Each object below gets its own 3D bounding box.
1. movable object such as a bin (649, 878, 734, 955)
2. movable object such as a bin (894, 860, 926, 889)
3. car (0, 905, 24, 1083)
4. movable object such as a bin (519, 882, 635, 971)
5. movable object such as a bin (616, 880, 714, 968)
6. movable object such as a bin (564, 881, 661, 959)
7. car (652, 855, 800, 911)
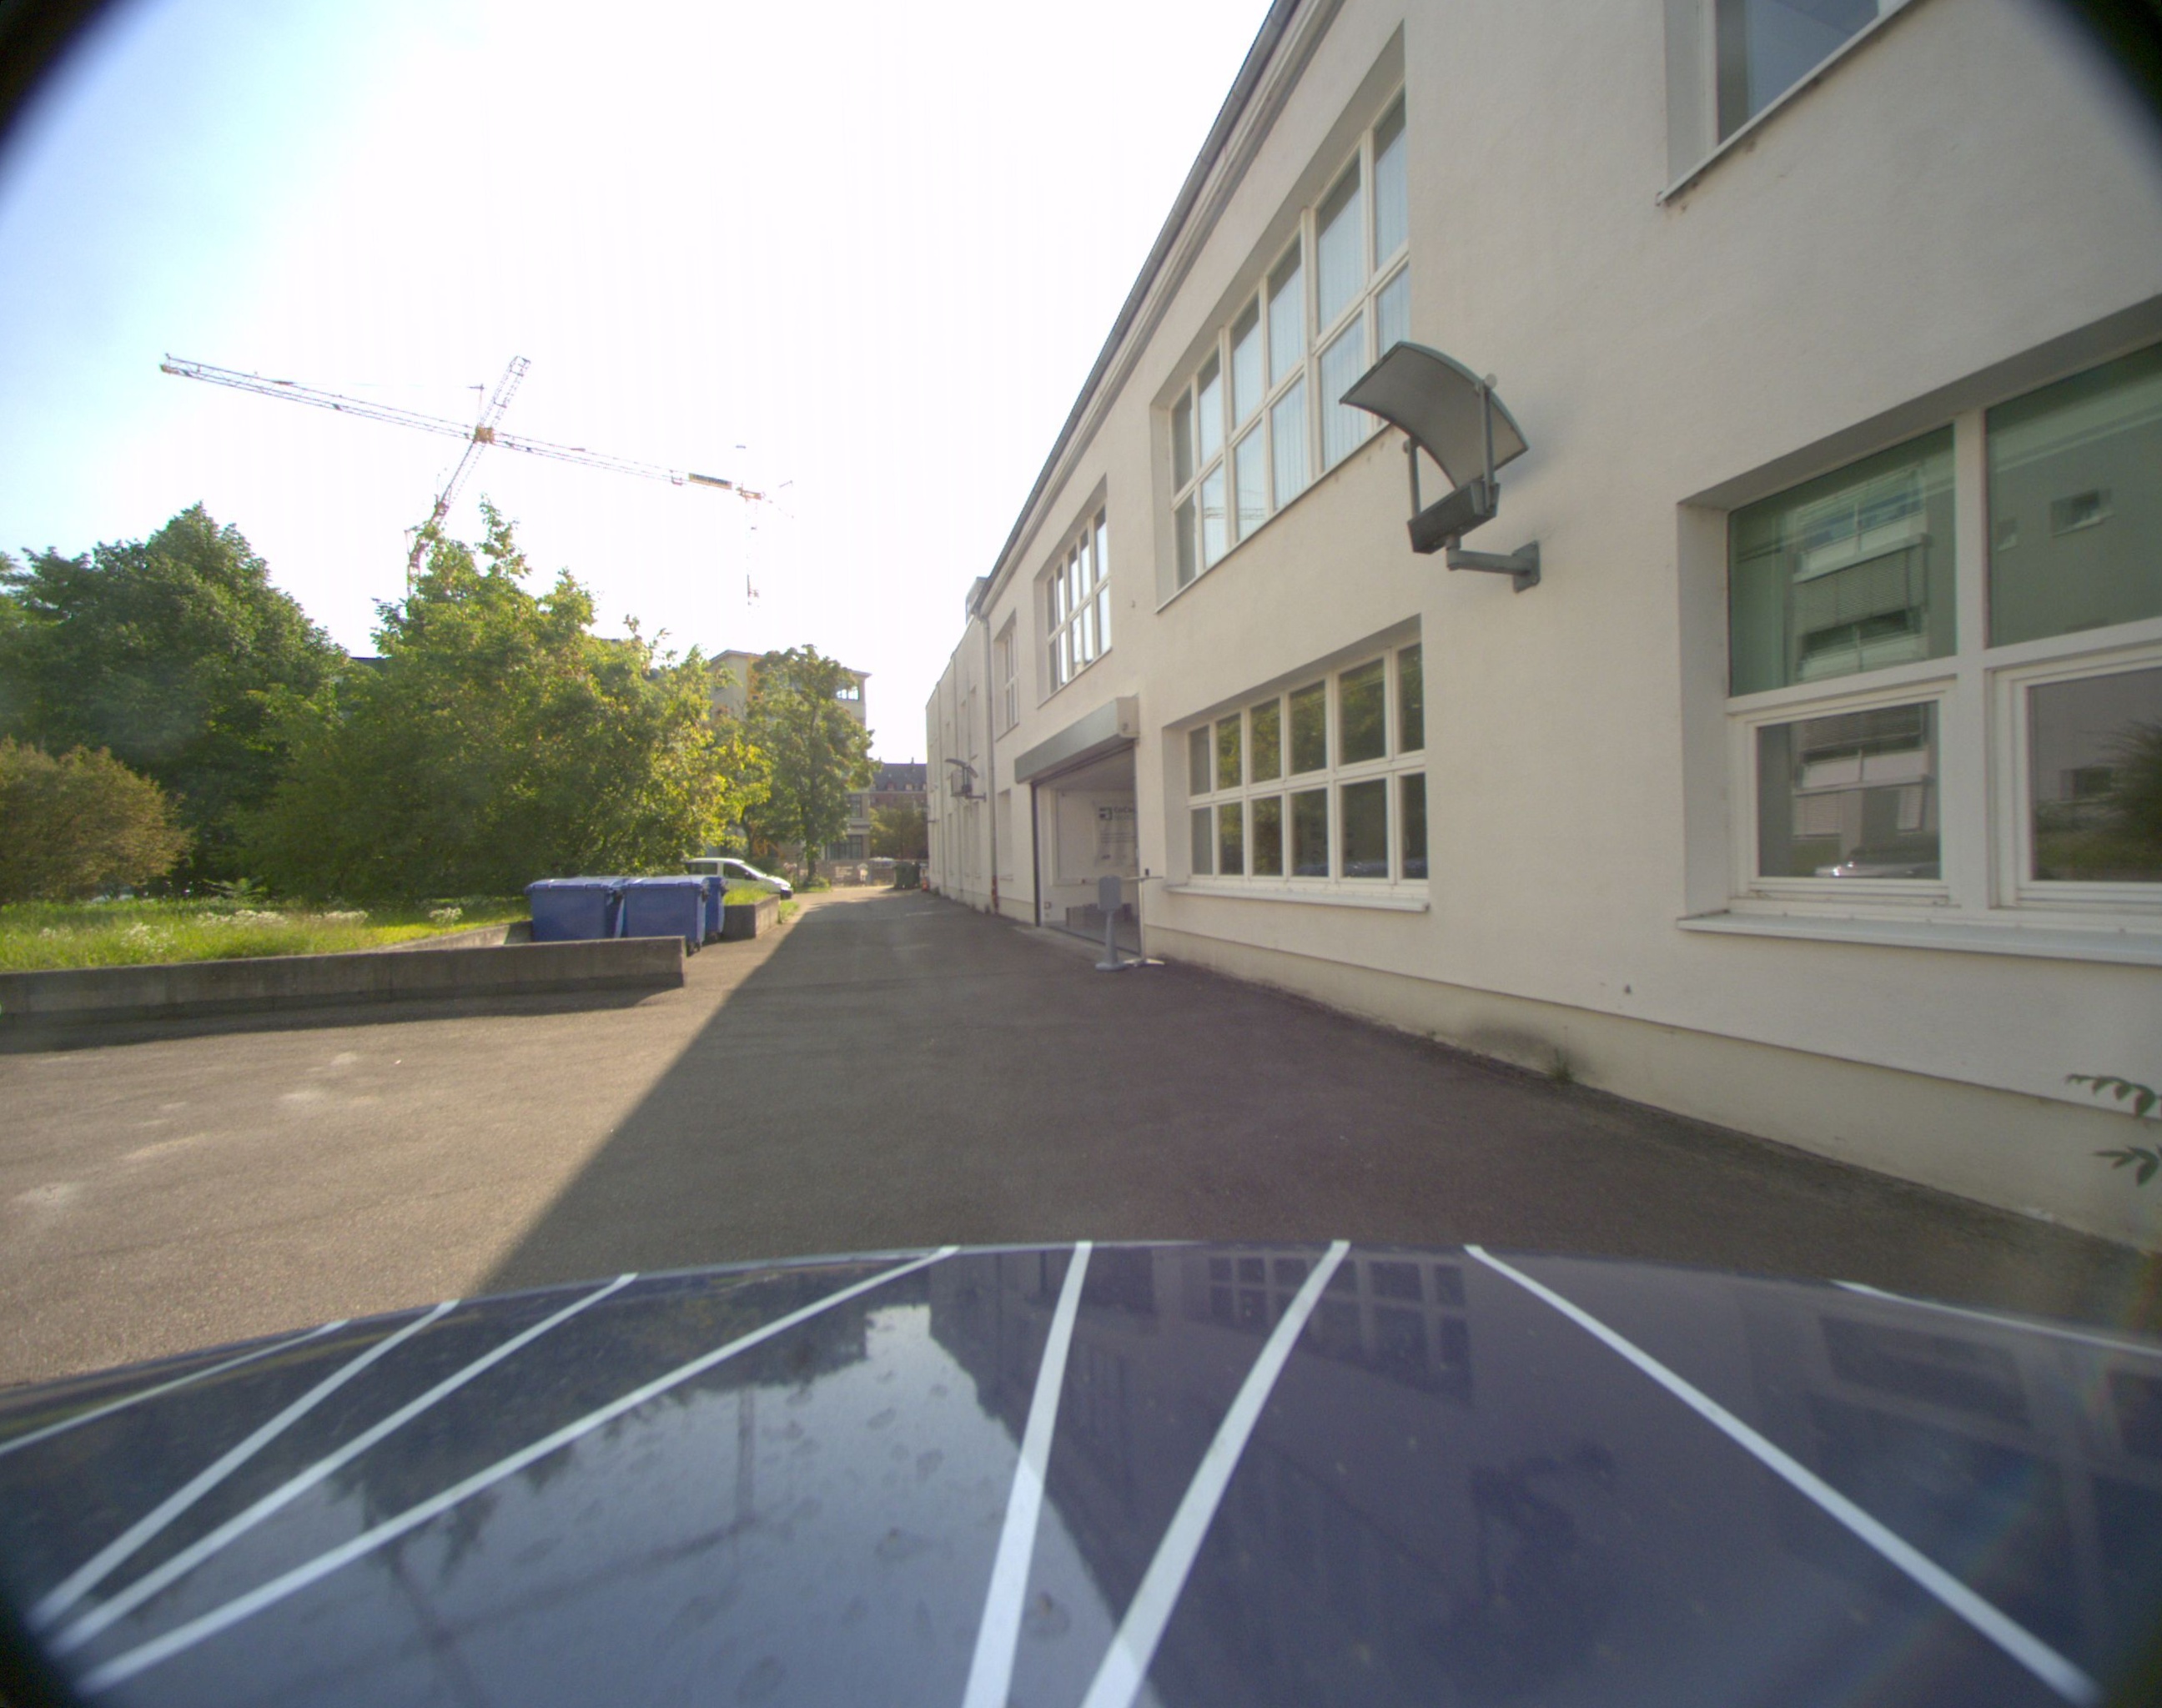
[{"bbox_3d":[-7.486,1.170,14.683,1.201,1.320,1.273,-2,0,-16],"label":"movable object such as a bin"},{"bbox_3d":[-9.026,1.061,40.169,1.526,1.457,1.273,-2,0,-16],"label":"movable object such as a bin"},{"bbox_3d":[-10.237,1.166,4.947,3.585,1.429,1.656,-1,0,-20],"label":"car"},{"bbox_3d":[-8.424,1.182,12.794,1.258,1.320,1.273,-2,0,-16],"label":"movable object such as a bin"},{"bbox_3d":[-7.134,1.164,13.119,1.215,1.343,1.273,-2,0,-18],"label":"movable object such as a bin"},{"bbox_3d":[-8.788,1.202,14.336,1.201,1.320,1.273,-2,0,-16],"label":"movable object such as a bin"},{"bbox_3d":[-13.416,1.066,28.997,4.796,1.920,1.906,-1,0,-15],"label":"car"}]
